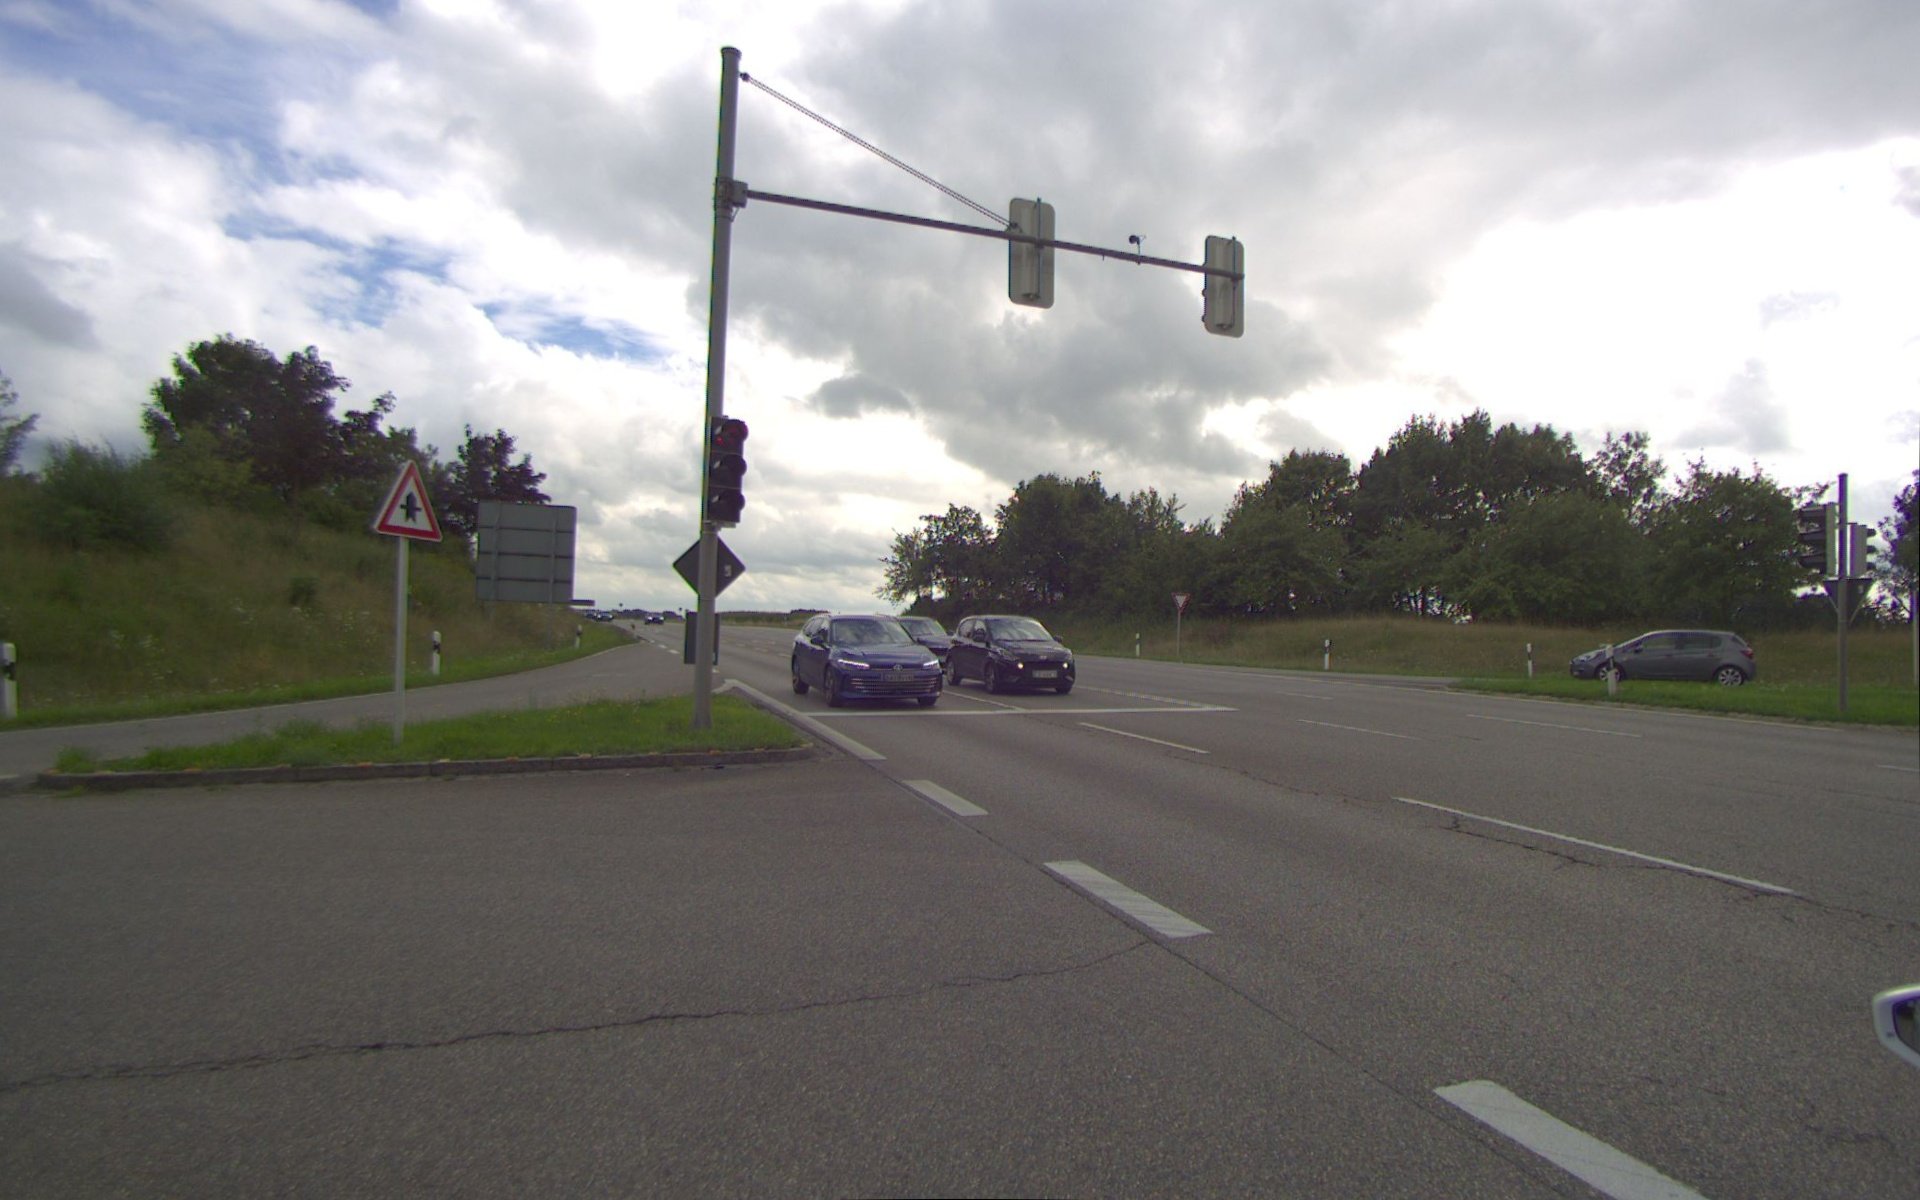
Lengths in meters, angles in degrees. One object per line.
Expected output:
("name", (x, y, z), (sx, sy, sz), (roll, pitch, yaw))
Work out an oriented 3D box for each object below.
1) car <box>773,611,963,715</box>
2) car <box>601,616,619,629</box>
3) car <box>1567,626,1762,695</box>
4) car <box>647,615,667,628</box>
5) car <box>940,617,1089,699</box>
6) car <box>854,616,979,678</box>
("car", (-1.822, 1.000, 17.837), (2.022, 1.555, 5.101), (2, -1, -21))
("car", (-46.050, 2.940, 132.187), (1.971, 1.514, 4.967), (2, -1, -22))
("car", (18.238, 1.538, 26.259), (3.927, 1.555, 1.997), (1, -2, 28))
("car", (-34.057, 2.425, 112.764), (1.745, 1.401, 4.521), (2, -1, -22))
("car", (0.995, 1.118, 20.540), (1.705, 1.462, 3.927), (1, -1, -19))
("car", (-1.305, 1.205, 27.302), (2.024, 1.503, 4.859), (1, -1, -20))
